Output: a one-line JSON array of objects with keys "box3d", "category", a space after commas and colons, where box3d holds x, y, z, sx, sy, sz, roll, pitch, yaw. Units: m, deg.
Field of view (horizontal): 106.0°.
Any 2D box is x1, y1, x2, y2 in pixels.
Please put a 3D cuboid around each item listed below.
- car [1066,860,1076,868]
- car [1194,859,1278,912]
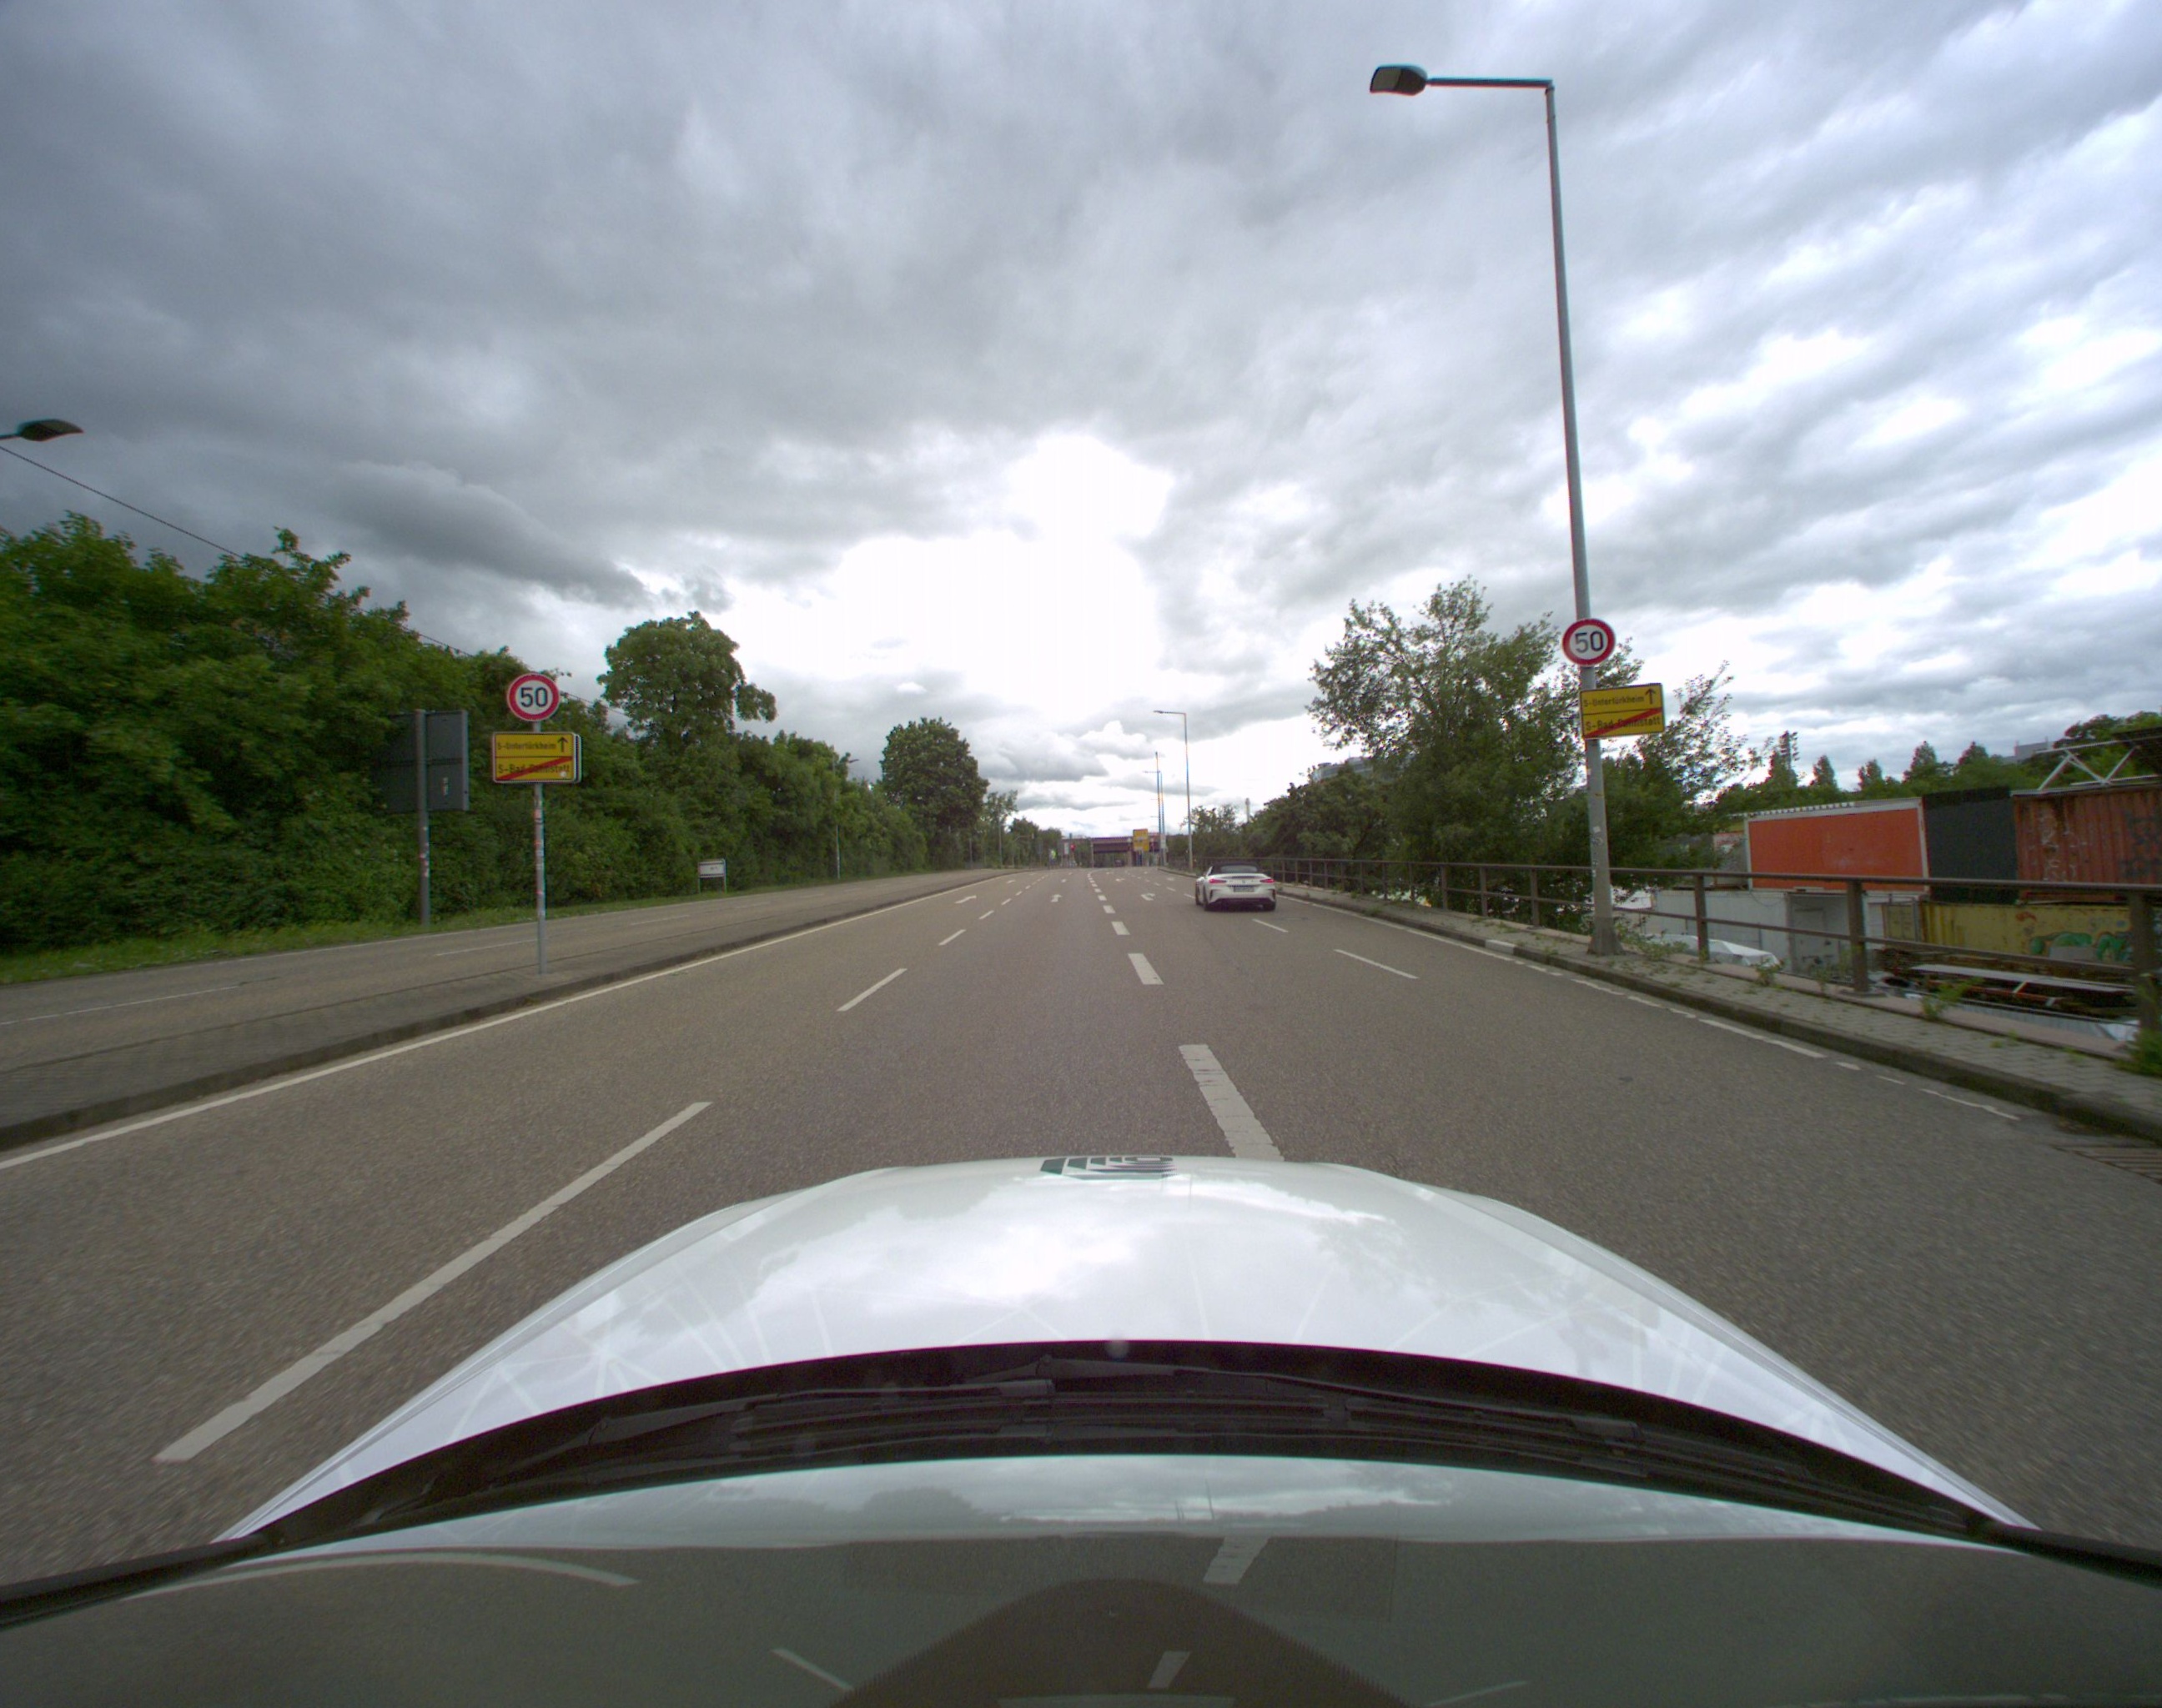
[{"box3d": [-2.069, 2.097, 165.944, 1.764, 1.633, 3.827, 0, -1, 3], "category": "car"}, {"box3d": [4.196, 0.808, 22.596, 1.866, 1.309, 3.878, 0, 0, 4], "category": "car"}]
